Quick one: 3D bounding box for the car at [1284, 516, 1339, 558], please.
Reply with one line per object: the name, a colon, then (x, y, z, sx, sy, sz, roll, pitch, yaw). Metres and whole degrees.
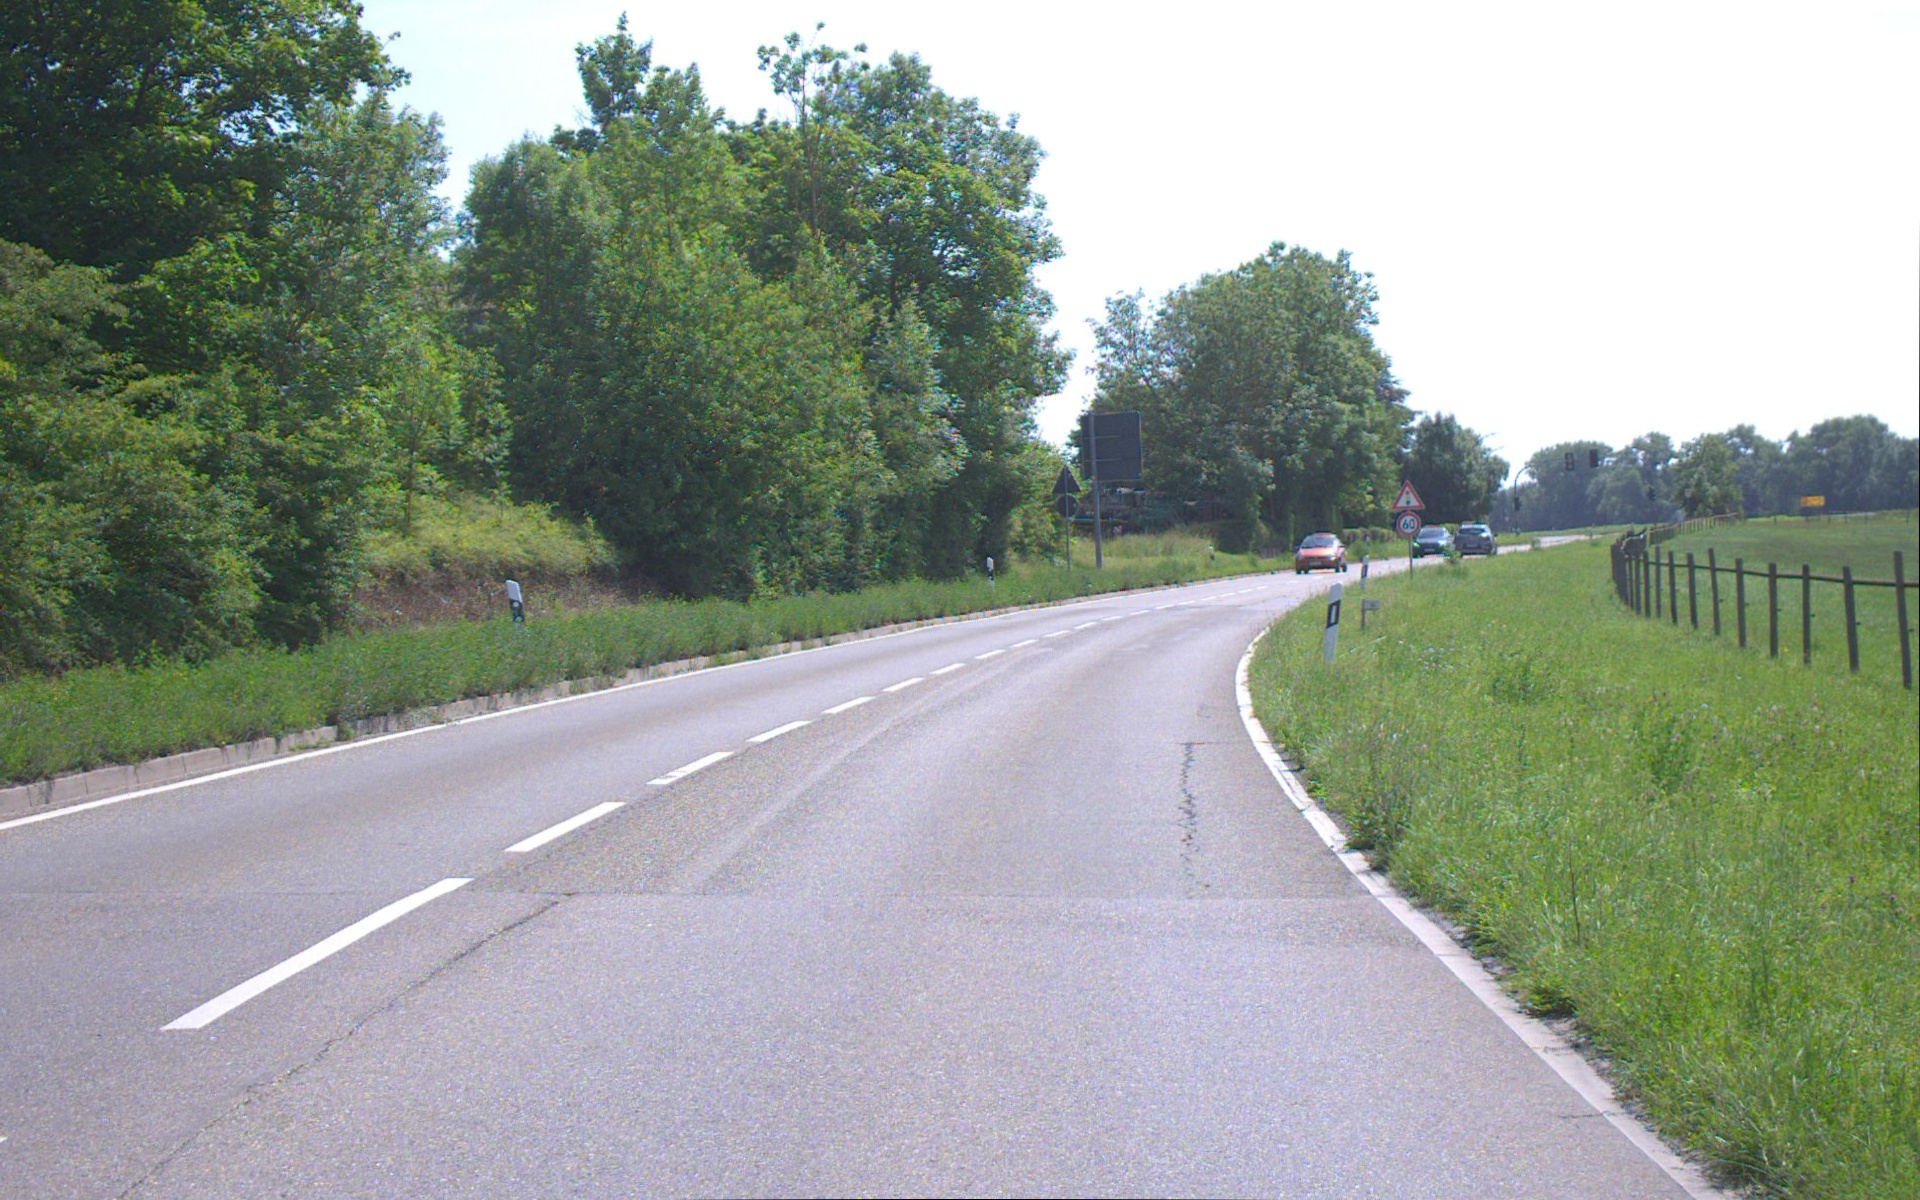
car: (12.727, -2.291, 124.231, 1.821, 1.464, 3.999, 1, 1, 8)

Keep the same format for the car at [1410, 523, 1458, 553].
car: (23.678, -3.083, 171.655, 1.822, 1.464, 3.997, 1, 1, 16)

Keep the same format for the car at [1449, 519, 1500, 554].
car: (23.658, -2.926, 158.073, 1.995, 1.568, 3.998, 1, 1, 13)
